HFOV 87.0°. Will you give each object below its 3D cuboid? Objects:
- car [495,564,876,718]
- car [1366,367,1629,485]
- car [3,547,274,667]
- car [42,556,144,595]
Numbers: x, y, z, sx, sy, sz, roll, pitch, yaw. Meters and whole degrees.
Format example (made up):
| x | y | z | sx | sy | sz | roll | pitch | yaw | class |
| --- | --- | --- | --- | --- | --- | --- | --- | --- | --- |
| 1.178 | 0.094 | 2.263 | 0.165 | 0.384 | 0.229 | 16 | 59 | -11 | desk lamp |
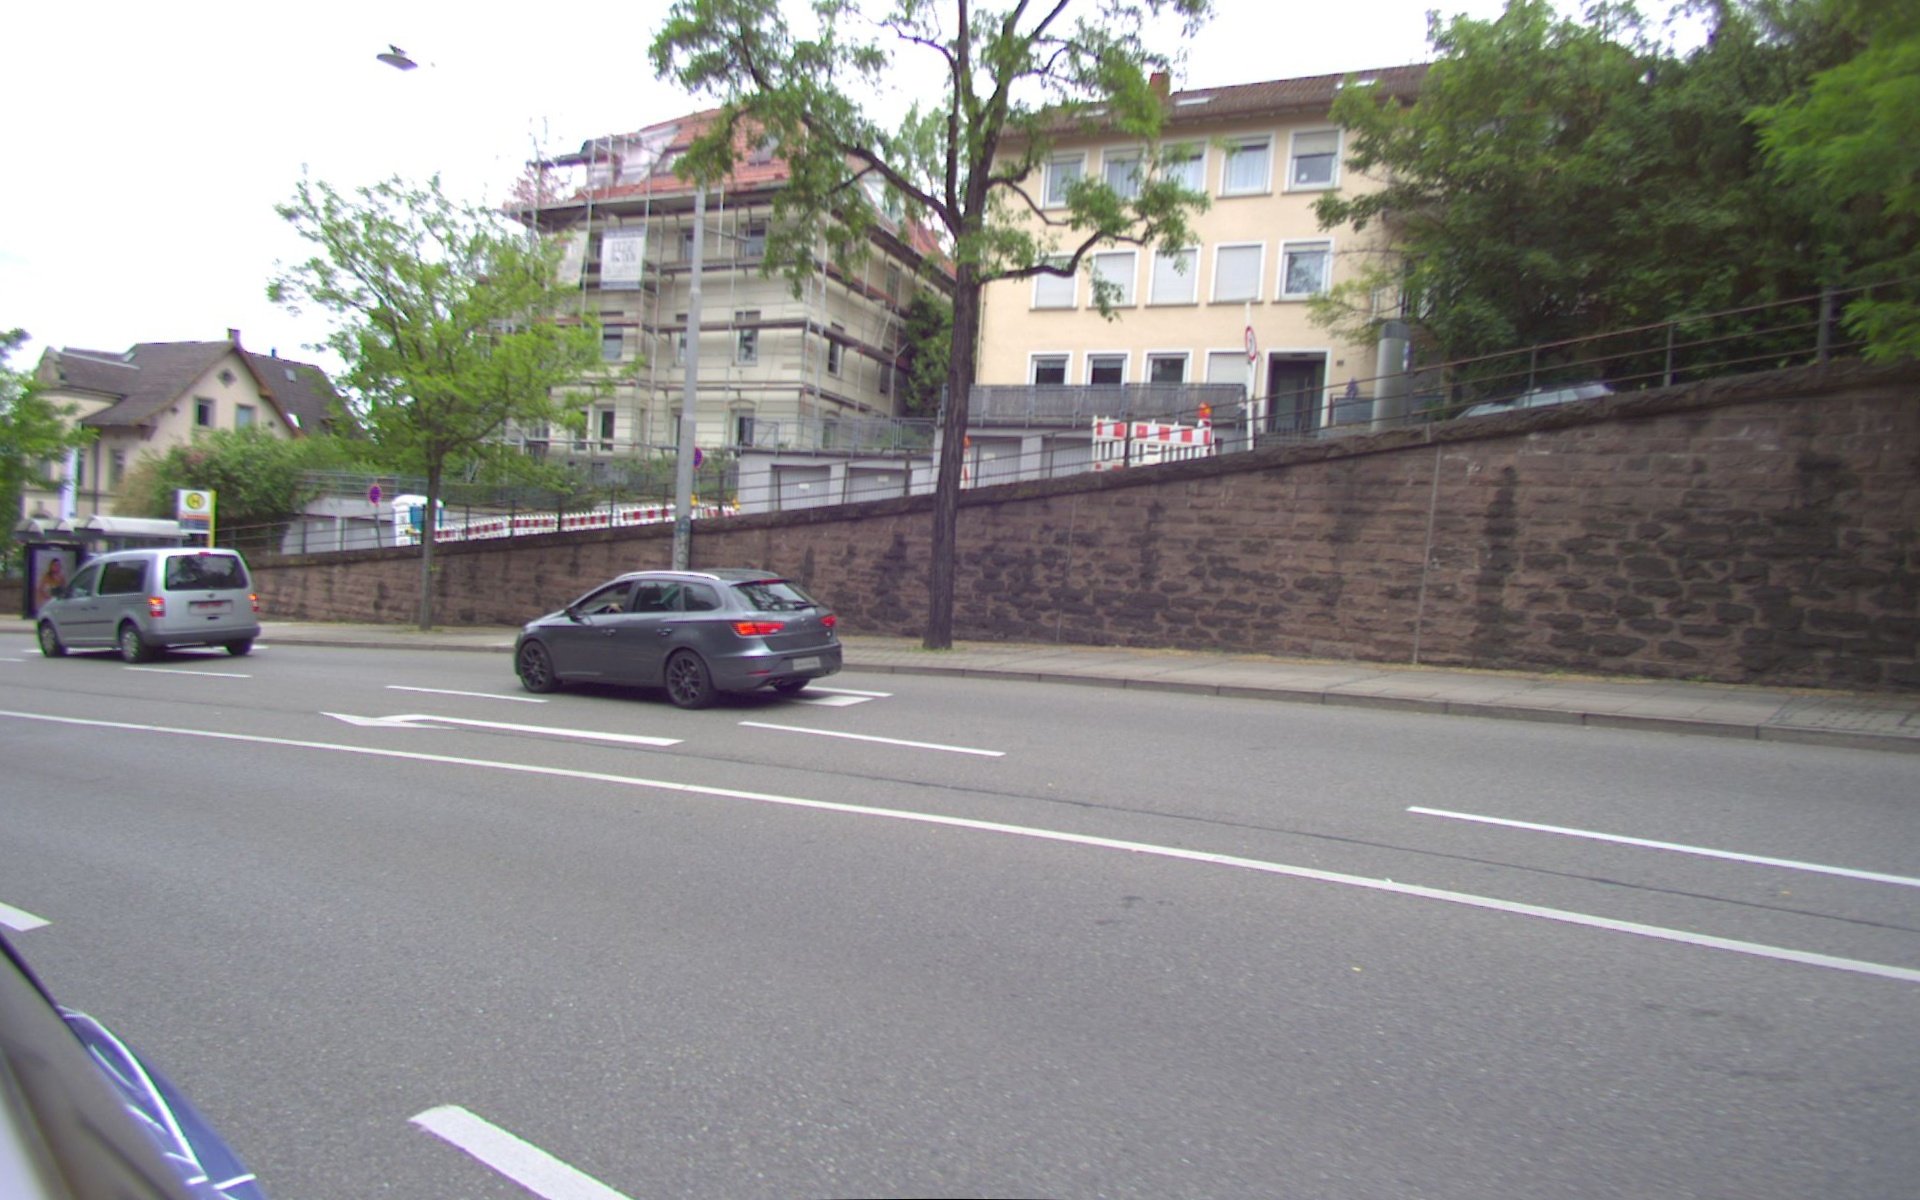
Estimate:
| x | y | z | sx | sy | sz | roll | pitch | yaw | class |
| --- | --- | --- | --- | --- | --- | --- | --- | --- | --- |
| -3.255 | 0.357 | 11.701 | 4.389 | 1.477 | 1.769 | 0 | 2 | 33 | car |
| 9.817 | -3.088 | 18.622 | 4.057 | 1.652 | 1.753 | 2 | 2 | 36 | car |
| -14.103 | 0.053 | 17.358 | 4.425 | 1.827 | 1.847 | 1 | 3 | 26 | car |
| -34.824 | -0.993 | 40.658 | 3.613 | 1.432 | 1.696 | 2 | -1 | 24 | car |
